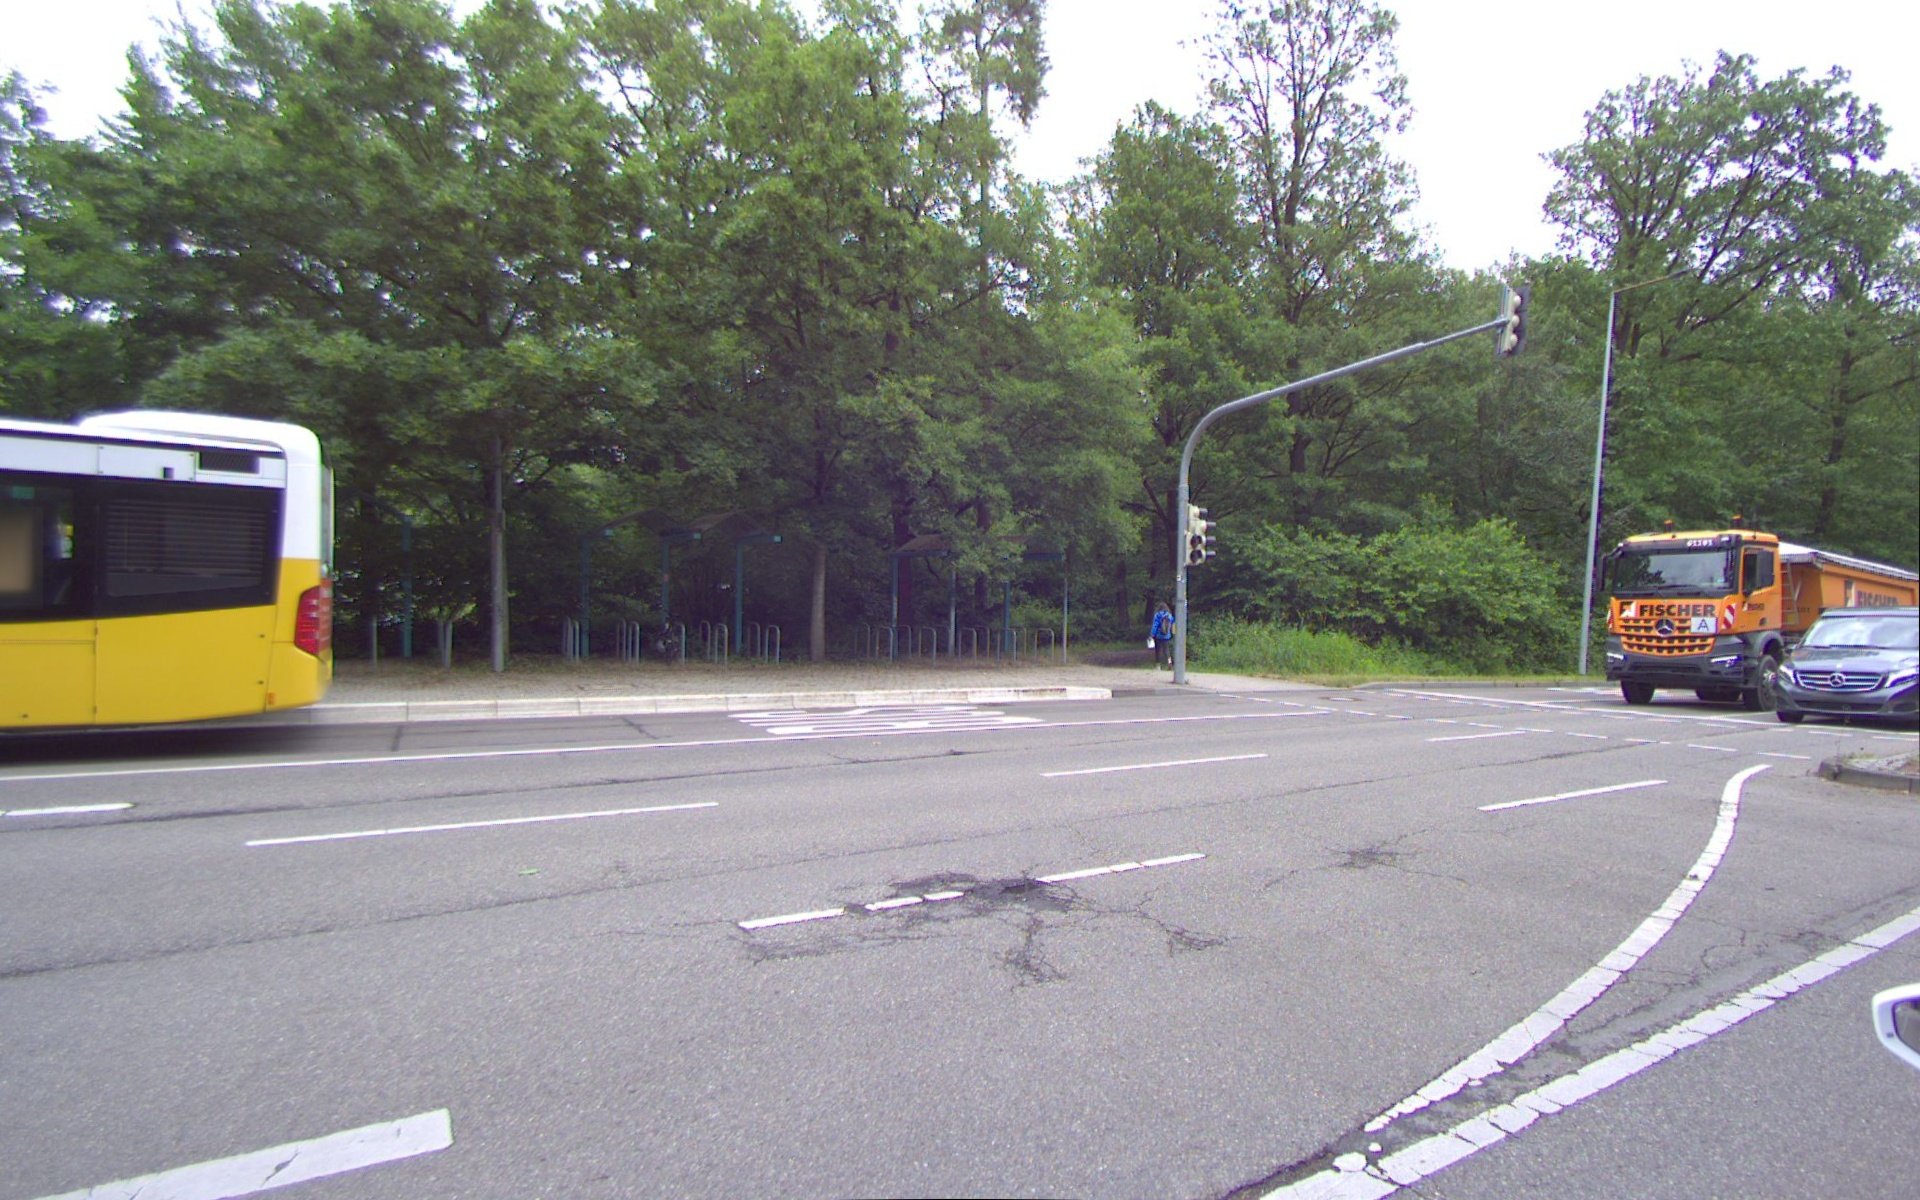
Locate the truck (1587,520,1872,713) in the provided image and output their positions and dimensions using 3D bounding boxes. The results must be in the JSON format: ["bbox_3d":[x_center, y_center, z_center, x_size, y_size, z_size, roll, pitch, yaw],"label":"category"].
[{"bbox_3d":[16.012,0.435,20.726,7.090,3.362,2.721,3,-2,-36],"label":"truck"}]

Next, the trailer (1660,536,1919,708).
[{"bbox_3d":[19.465,0.606,23.206,8.486,3.362,2.720,3,-2,-36],"label":"trailer"}]

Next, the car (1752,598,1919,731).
[{"bbox_3d":[15.258,1.024,16.664,4.789,1.918,1.981,2,-2,-34],"label":"car"}]

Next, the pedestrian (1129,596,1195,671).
[{"bbox_3d":[4.793,0.781,23.867,1.055,1.671,1.043,0,4,-28],"label":"pedestrian"}]

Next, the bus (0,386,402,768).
[{"bbox_3d":[-9.881,-0.228,8.883,8.592,3.168,2.885,1,0,-30],"label":"bus"}]
